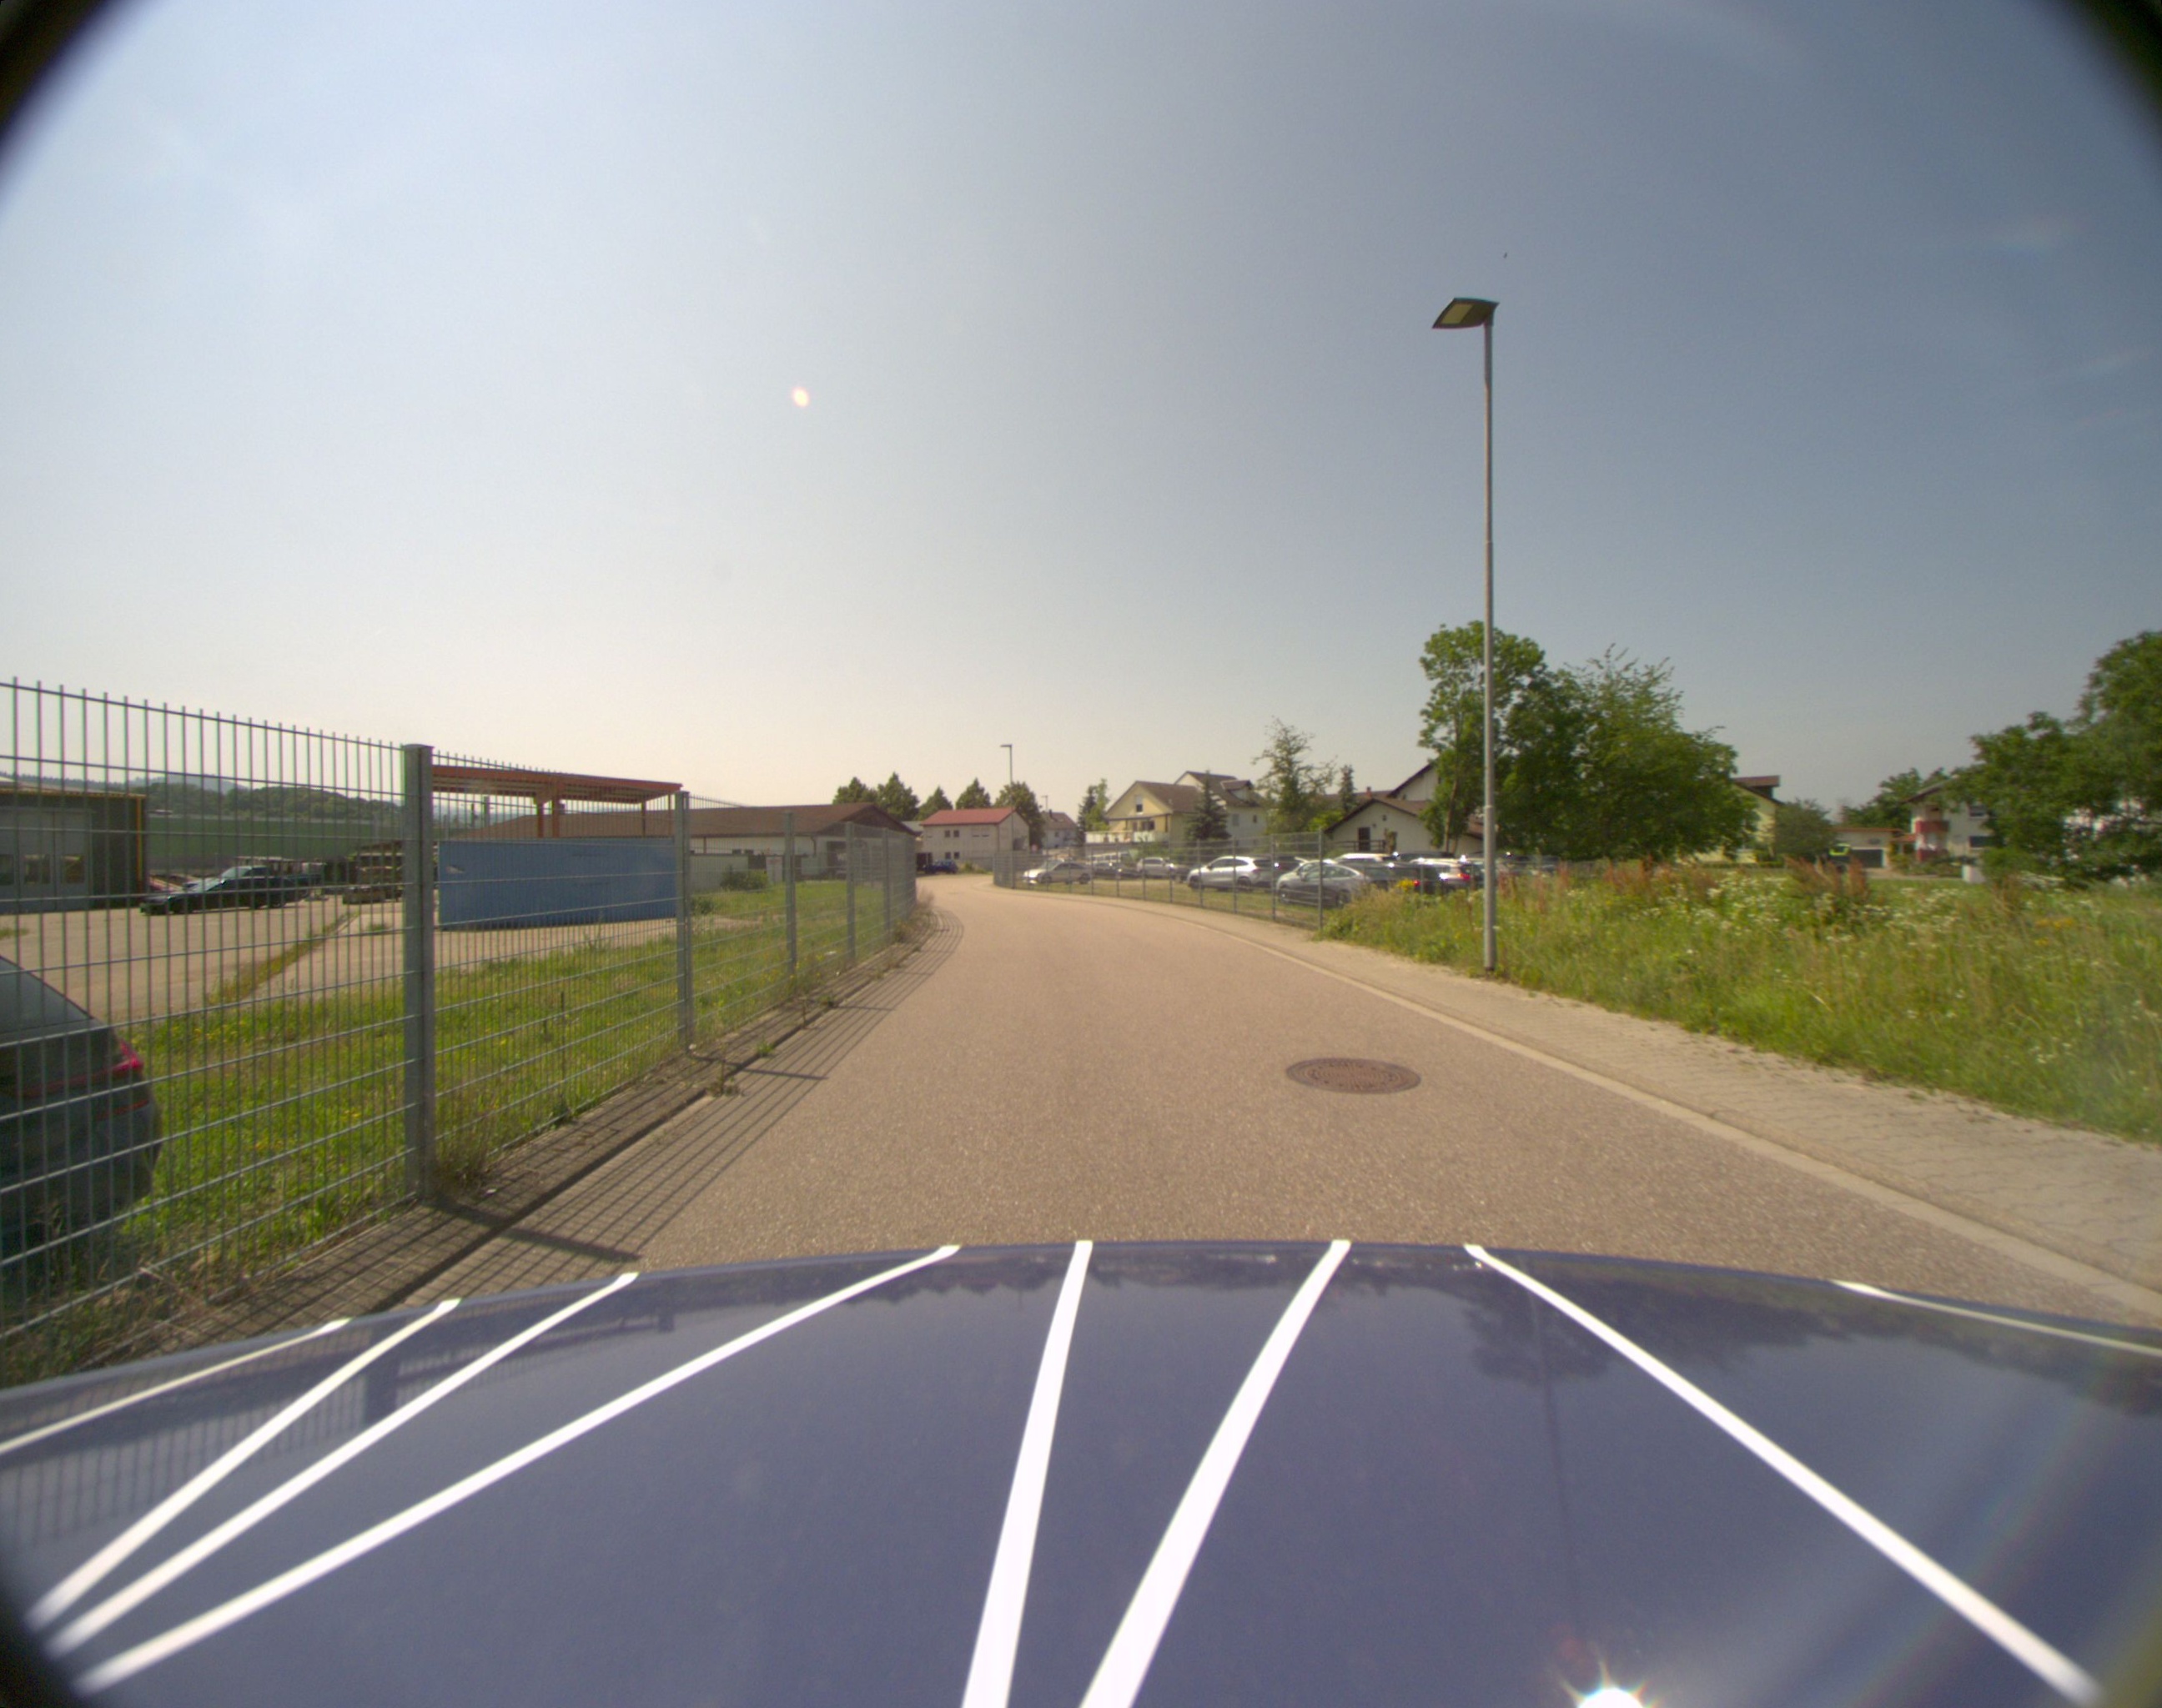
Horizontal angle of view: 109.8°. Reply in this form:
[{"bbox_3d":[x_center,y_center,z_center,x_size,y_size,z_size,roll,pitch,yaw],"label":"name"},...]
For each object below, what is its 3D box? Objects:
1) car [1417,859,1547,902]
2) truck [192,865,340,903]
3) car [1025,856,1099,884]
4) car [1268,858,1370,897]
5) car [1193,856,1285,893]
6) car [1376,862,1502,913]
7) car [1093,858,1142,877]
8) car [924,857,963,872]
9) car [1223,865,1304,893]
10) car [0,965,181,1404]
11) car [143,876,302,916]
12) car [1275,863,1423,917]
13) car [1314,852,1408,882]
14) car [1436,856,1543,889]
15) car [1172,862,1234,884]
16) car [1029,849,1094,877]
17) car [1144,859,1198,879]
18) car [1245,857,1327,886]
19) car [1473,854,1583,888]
[{"bbox_3d":[15.363,0.954,29.245,2.004,1.489,3.989,-1,0,-41],"label":"car"},{"bbox_3d":[-42.437,1.508,39.726,2.056,1.787,4.808,-1,0,22],"label":"truck"},{"bbox_3d":[-1.238,0.974,47.597,4.393,1.561,1.824,-1,1,-9],"label":"car"},{"bbox_3d":[9.171,0.875,29.454,1.585,1.411,3.452,-1,0,-40],"label":"car"},{"bbox_3d":[6.652,0.836,32.235,1.585,1.481,3.636,-1,0,-40],"label":"car"},{"bbox_3d":[11.921,1.058,25.437,1.585,1.574,3.452,-1,0,-40],"label":"car"},{"bbox_3d":[2.865,1.075,60.426,1.824,1.455,3.673,-2,1,-40],"label":"car"},{"bbox_3d":[-14.353,1.100,79.389,3.639,1.387,1.584,2,1,15],"label":"car"},{"bbox_3d":[8.899,1.193,37.282,1.585,1.239,3.636,-1,0,-40],"label":"car"},{"bbox_3d":[-5.655,1.099,2.338,4.383,1.310,1.720,0,0,10],"label":"car"},{"bbox_3d":[-35.481,1.711,31.560,1.671,1.379,4.005,-1,1,20],"label":"car"},{"bbox_3d":[7.503,0.943,21.772,1.583,1.326,4.396,-1,0,-20],"label":"car"},{"bbox_3d":[12.286,0.550,33.418,1.824,1.192,3.399,-2,1,-40],"label":"car"},{"bbox_3d":[17.895,0.772,33.395,1.824,1.309,3.735,-2,1,-40],"label":"car"},{"bbox_3d":[7.520,1.144,46.963,1.824,1.309,3.399,-2,1,-40],"label":"car"},{"bbox_3d":[-1.450,0.666,58.232,4.715,2.021,2.000,-1,1,4],"label":"car"},{"bbox_3d":[7.083,1.141,60.310,1.865,1.489,3.988,-1,0,-43],"label":"car"},{"bbox_3d":[11.379,0.928,42.341,2.004,1.489,3.989,-1,0,-41],"label":"car"},{"bbox_3d":[20.810,0.761,35.465,2.004,1.489,3.989,-1,0,-41],"label":"car"}]
